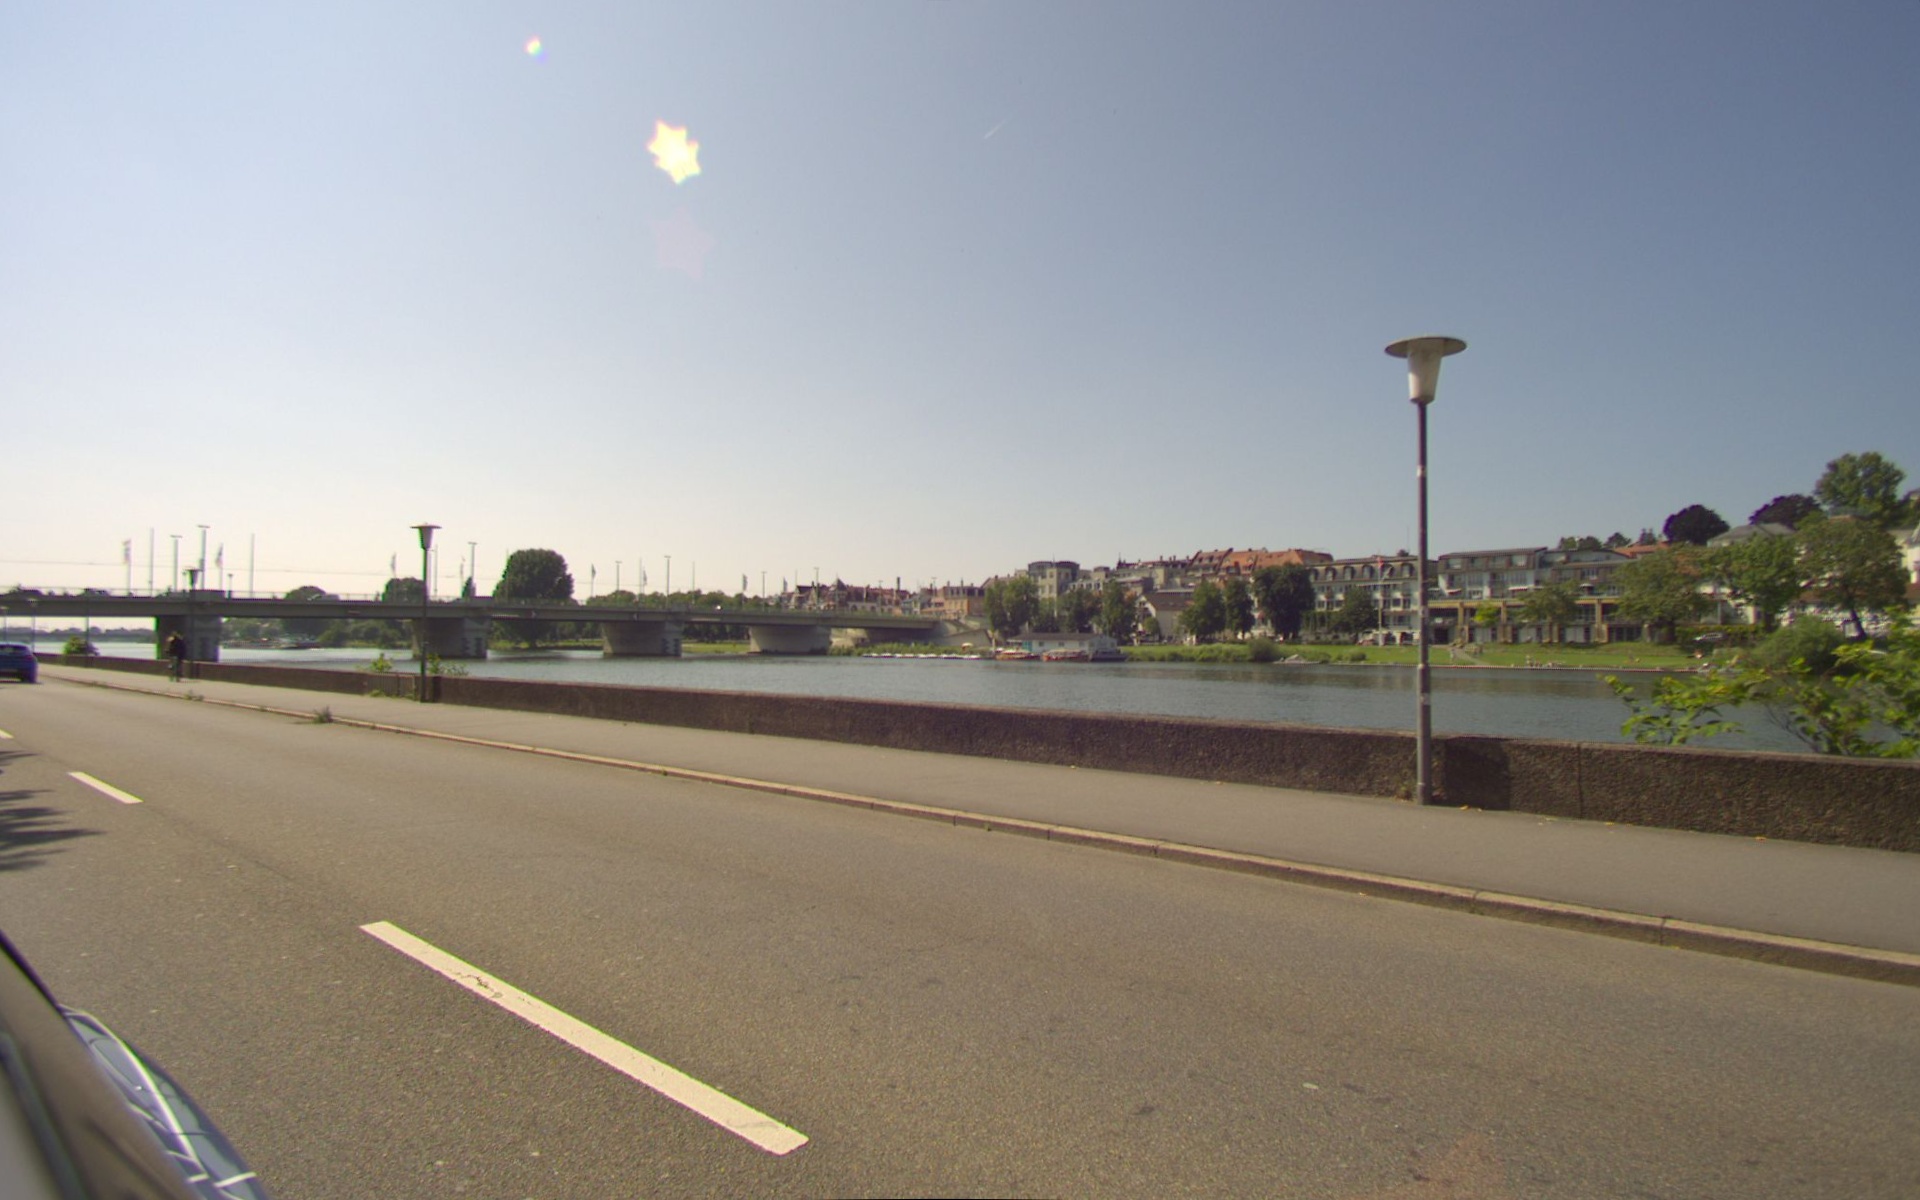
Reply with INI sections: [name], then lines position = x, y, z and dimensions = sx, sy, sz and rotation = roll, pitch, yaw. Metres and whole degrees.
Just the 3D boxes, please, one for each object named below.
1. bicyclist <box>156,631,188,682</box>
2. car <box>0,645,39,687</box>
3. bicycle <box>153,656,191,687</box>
[bicyclist]
position = -27.018, 1.940, 34.696
dimensions = 0.974, 1.715, 0.654
rotation = -2, -3, 41
[car]
position = -34.718, 2.368, 36.507
dimensions = 3.899, 1.452, 1.655
rotation = -2, -5, 41
[bicycle]
position = -26.992, 2.438, 34.656
dimensions = 1.943, 0.990, 0.645
rotation = -2, -3, 41
